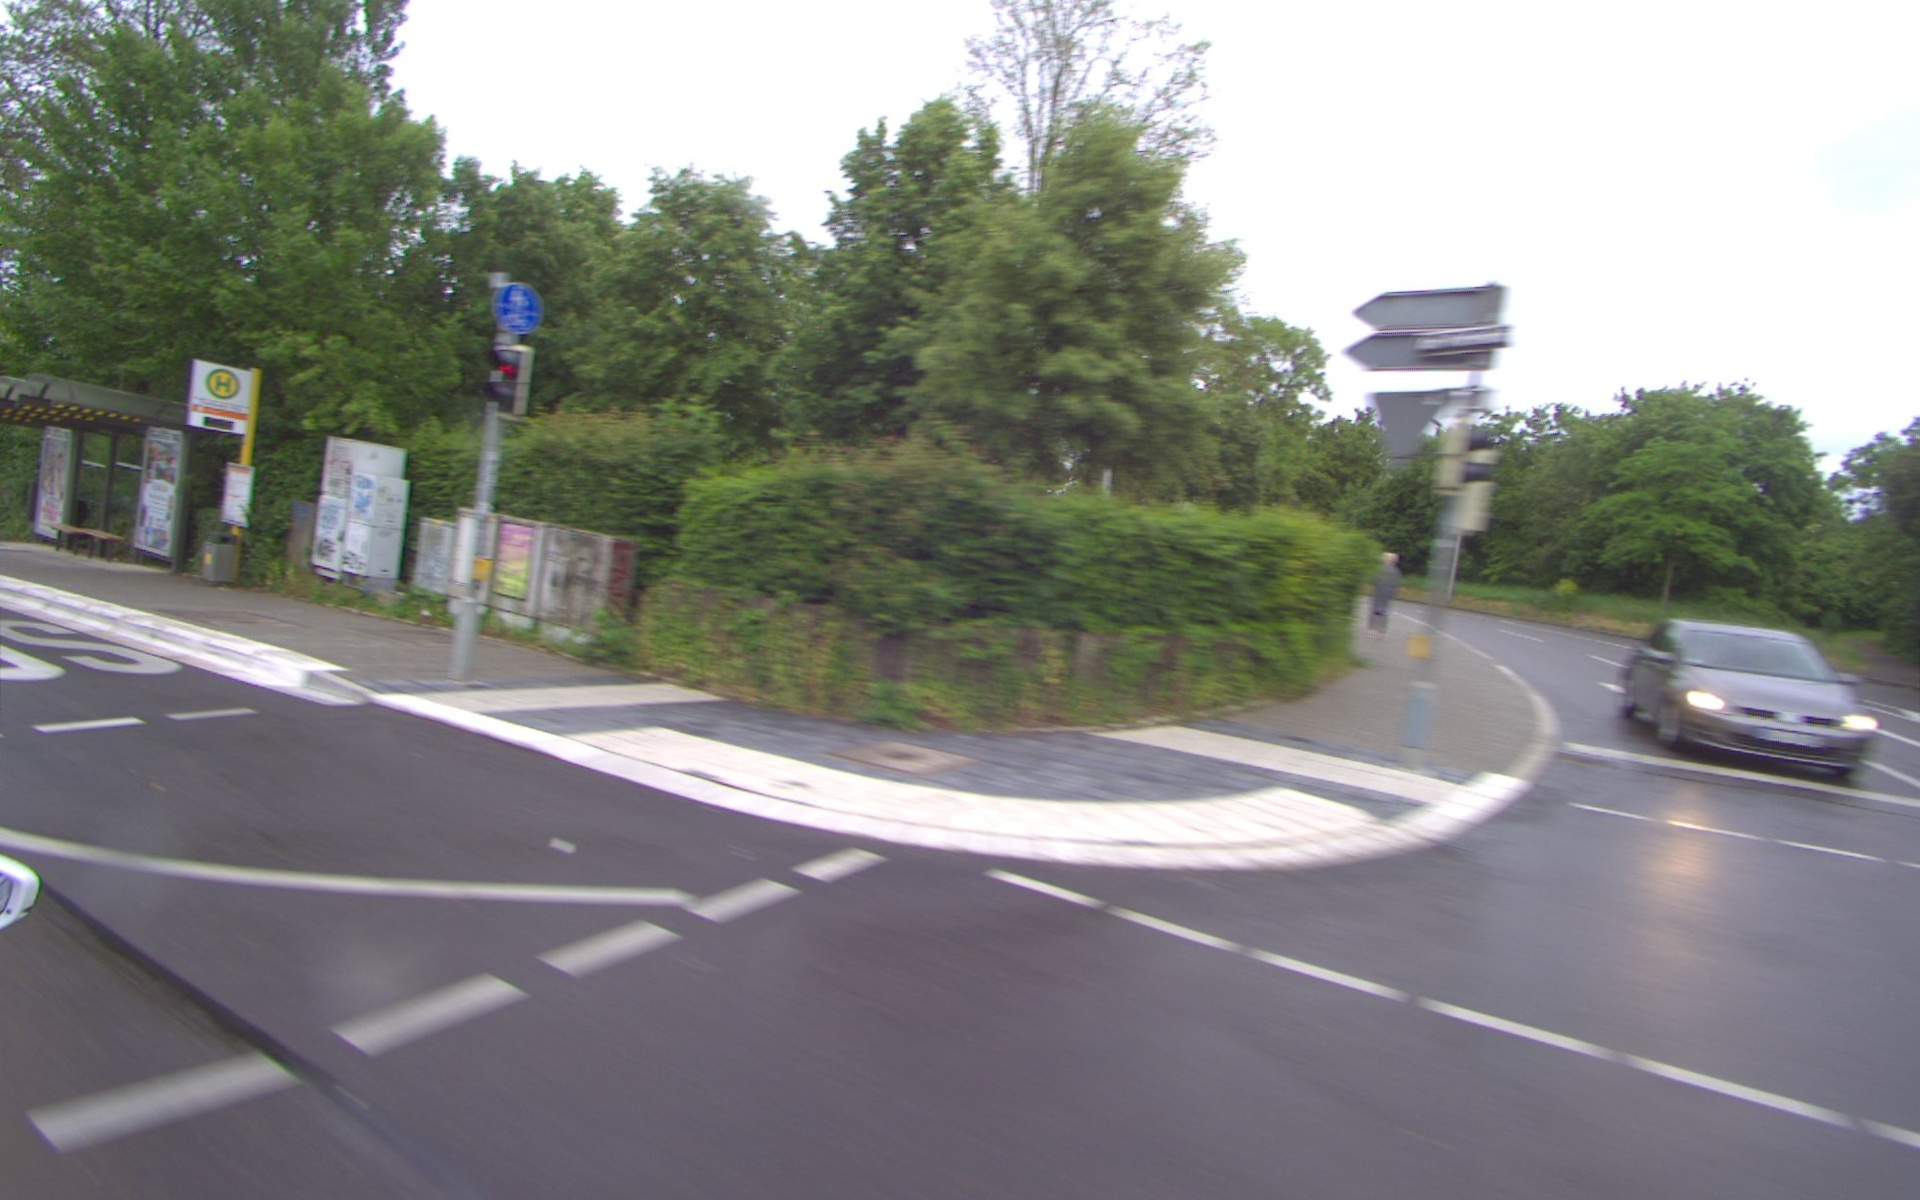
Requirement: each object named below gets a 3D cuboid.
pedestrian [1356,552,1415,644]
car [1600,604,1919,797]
[{"bbox_3d":[7.816,-0.033,18.511,0.678,1.604,0.473,7,2,-1],"label":"pedestrian"},{"bbox_3d":[9.283,1.002,12.087,1.856,1.475,4.075,7,6,22],"label":"car"}]
